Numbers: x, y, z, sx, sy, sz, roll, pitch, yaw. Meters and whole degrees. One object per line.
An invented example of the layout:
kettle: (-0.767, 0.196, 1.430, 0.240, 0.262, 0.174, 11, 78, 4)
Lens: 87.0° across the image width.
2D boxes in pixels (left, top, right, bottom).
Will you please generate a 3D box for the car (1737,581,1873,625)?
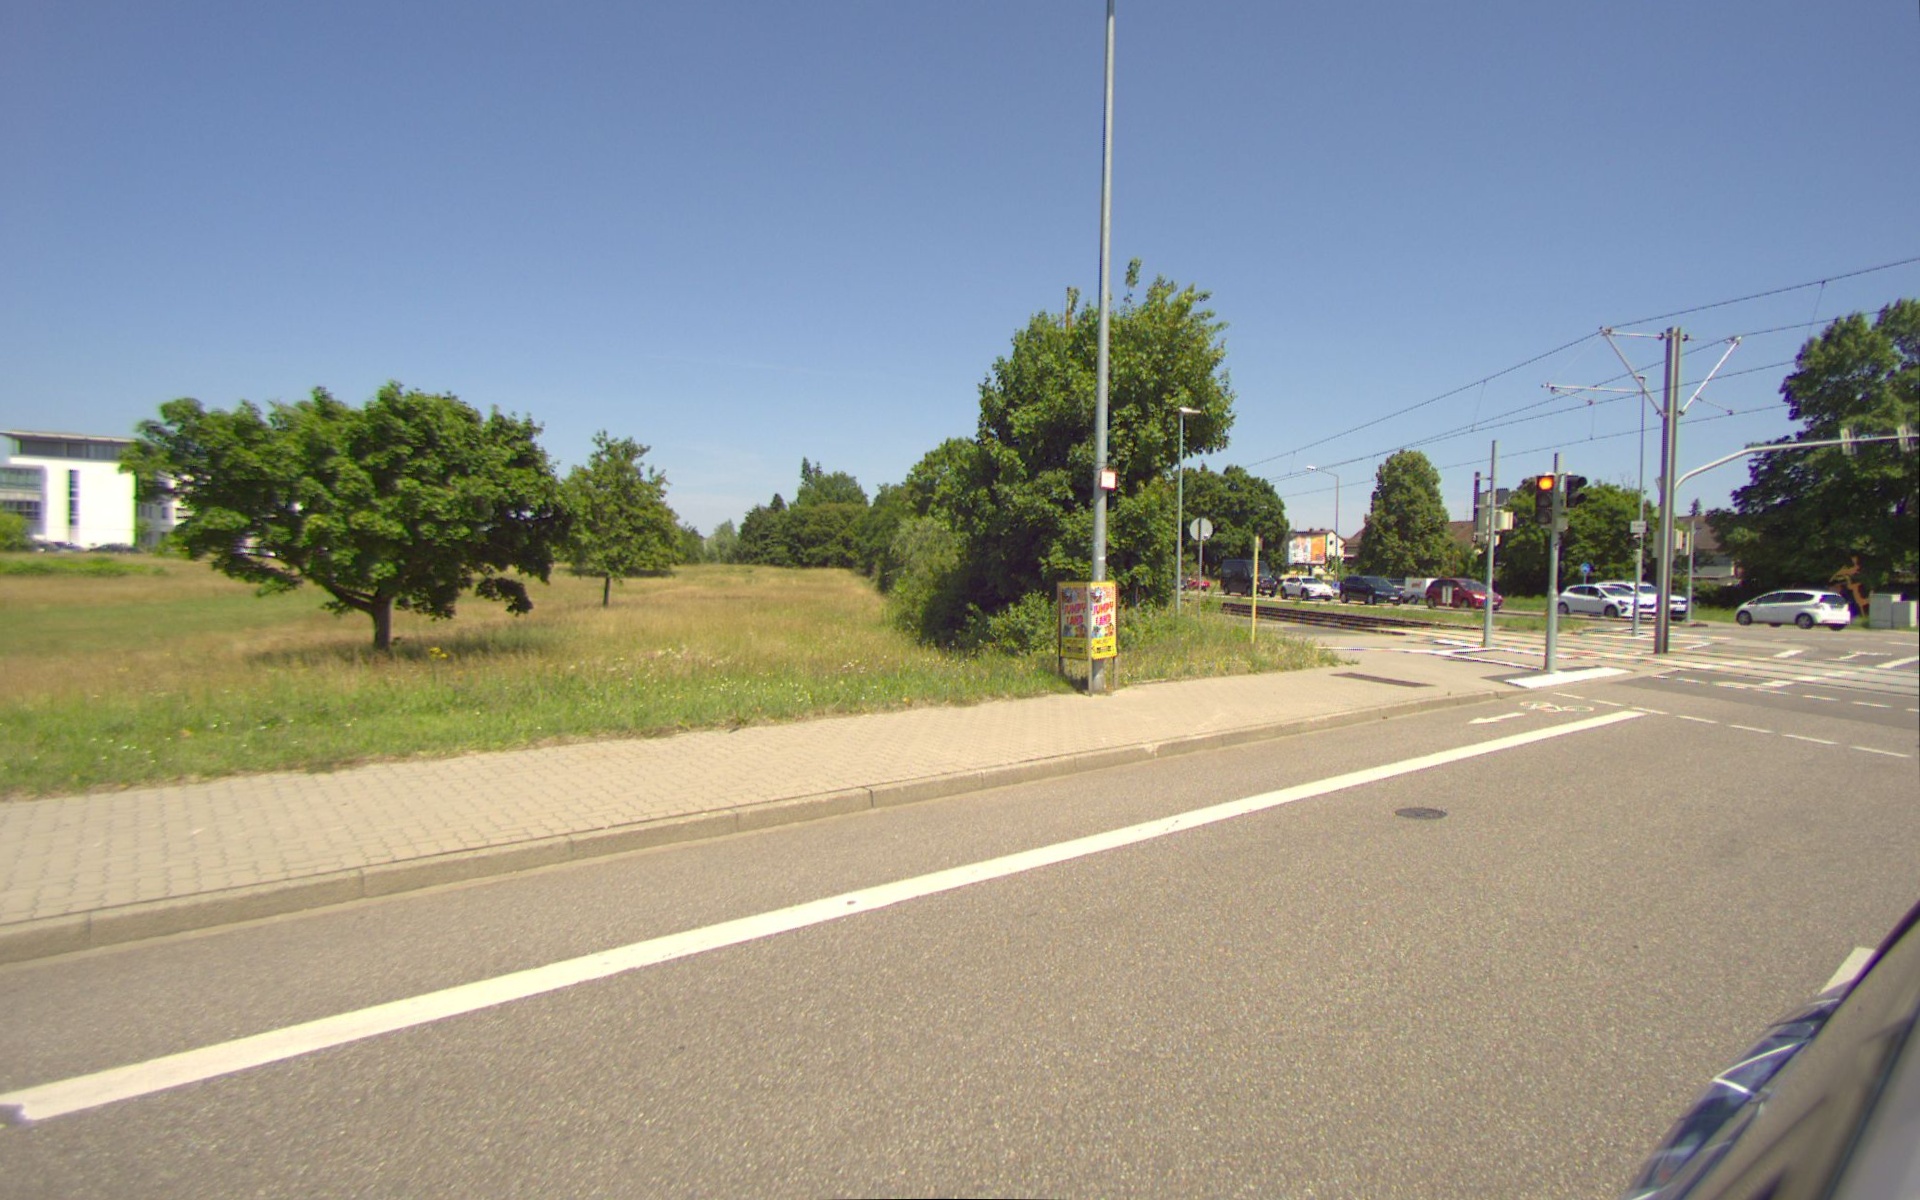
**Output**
car: (33.558, 0.065, 40.340, 1.695, 1.523, 3.907, 2, 2, -11)

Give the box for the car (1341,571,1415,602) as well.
car: (23.883, -0.816, 58.019, 1.837, 1.595, 4.420, 2, 1, -9)

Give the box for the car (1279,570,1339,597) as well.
car: (22.343, -1.105, 65.021, 1.695, 1.595, 4.420, 2, 1, -9)

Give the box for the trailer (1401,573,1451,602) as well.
trailer: (29.359, -0.806, 63.846, 1.380, 1.675, 2.944, 2, 1, -10)

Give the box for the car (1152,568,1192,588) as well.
car: (18.077, -1.891, 86.511, 1.837, 1.595, 4.420, 2, 1, -9)

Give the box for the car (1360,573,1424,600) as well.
car: (28.734, -0.920, 67.475, 1.696, 1.678, 4.417, 2, 1, -10)

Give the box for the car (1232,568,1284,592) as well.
car: (21.302, -1.480, 72.494, 1.837, 1.595, 4.420, 2, 1, -9)

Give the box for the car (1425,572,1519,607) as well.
car: (25.366, -0.560, 50.329, 1.837, 1.595, 4.420, 2, 1, -9)

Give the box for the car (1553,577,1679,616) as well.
car: (26.884, -0.165, 41.689, 1.837, 1.406, 4.420, 2, 1, -9)

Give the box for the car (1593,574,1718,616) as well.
car: (29.860, -0.259, 43.651, 1.837, 1.595, 4.420, 2, 1, -9)

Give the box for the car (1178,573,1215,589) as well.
car: (21.880, -1.773, 93.822, 1.730, 1.365, 4.320, 3, 2, -9)
